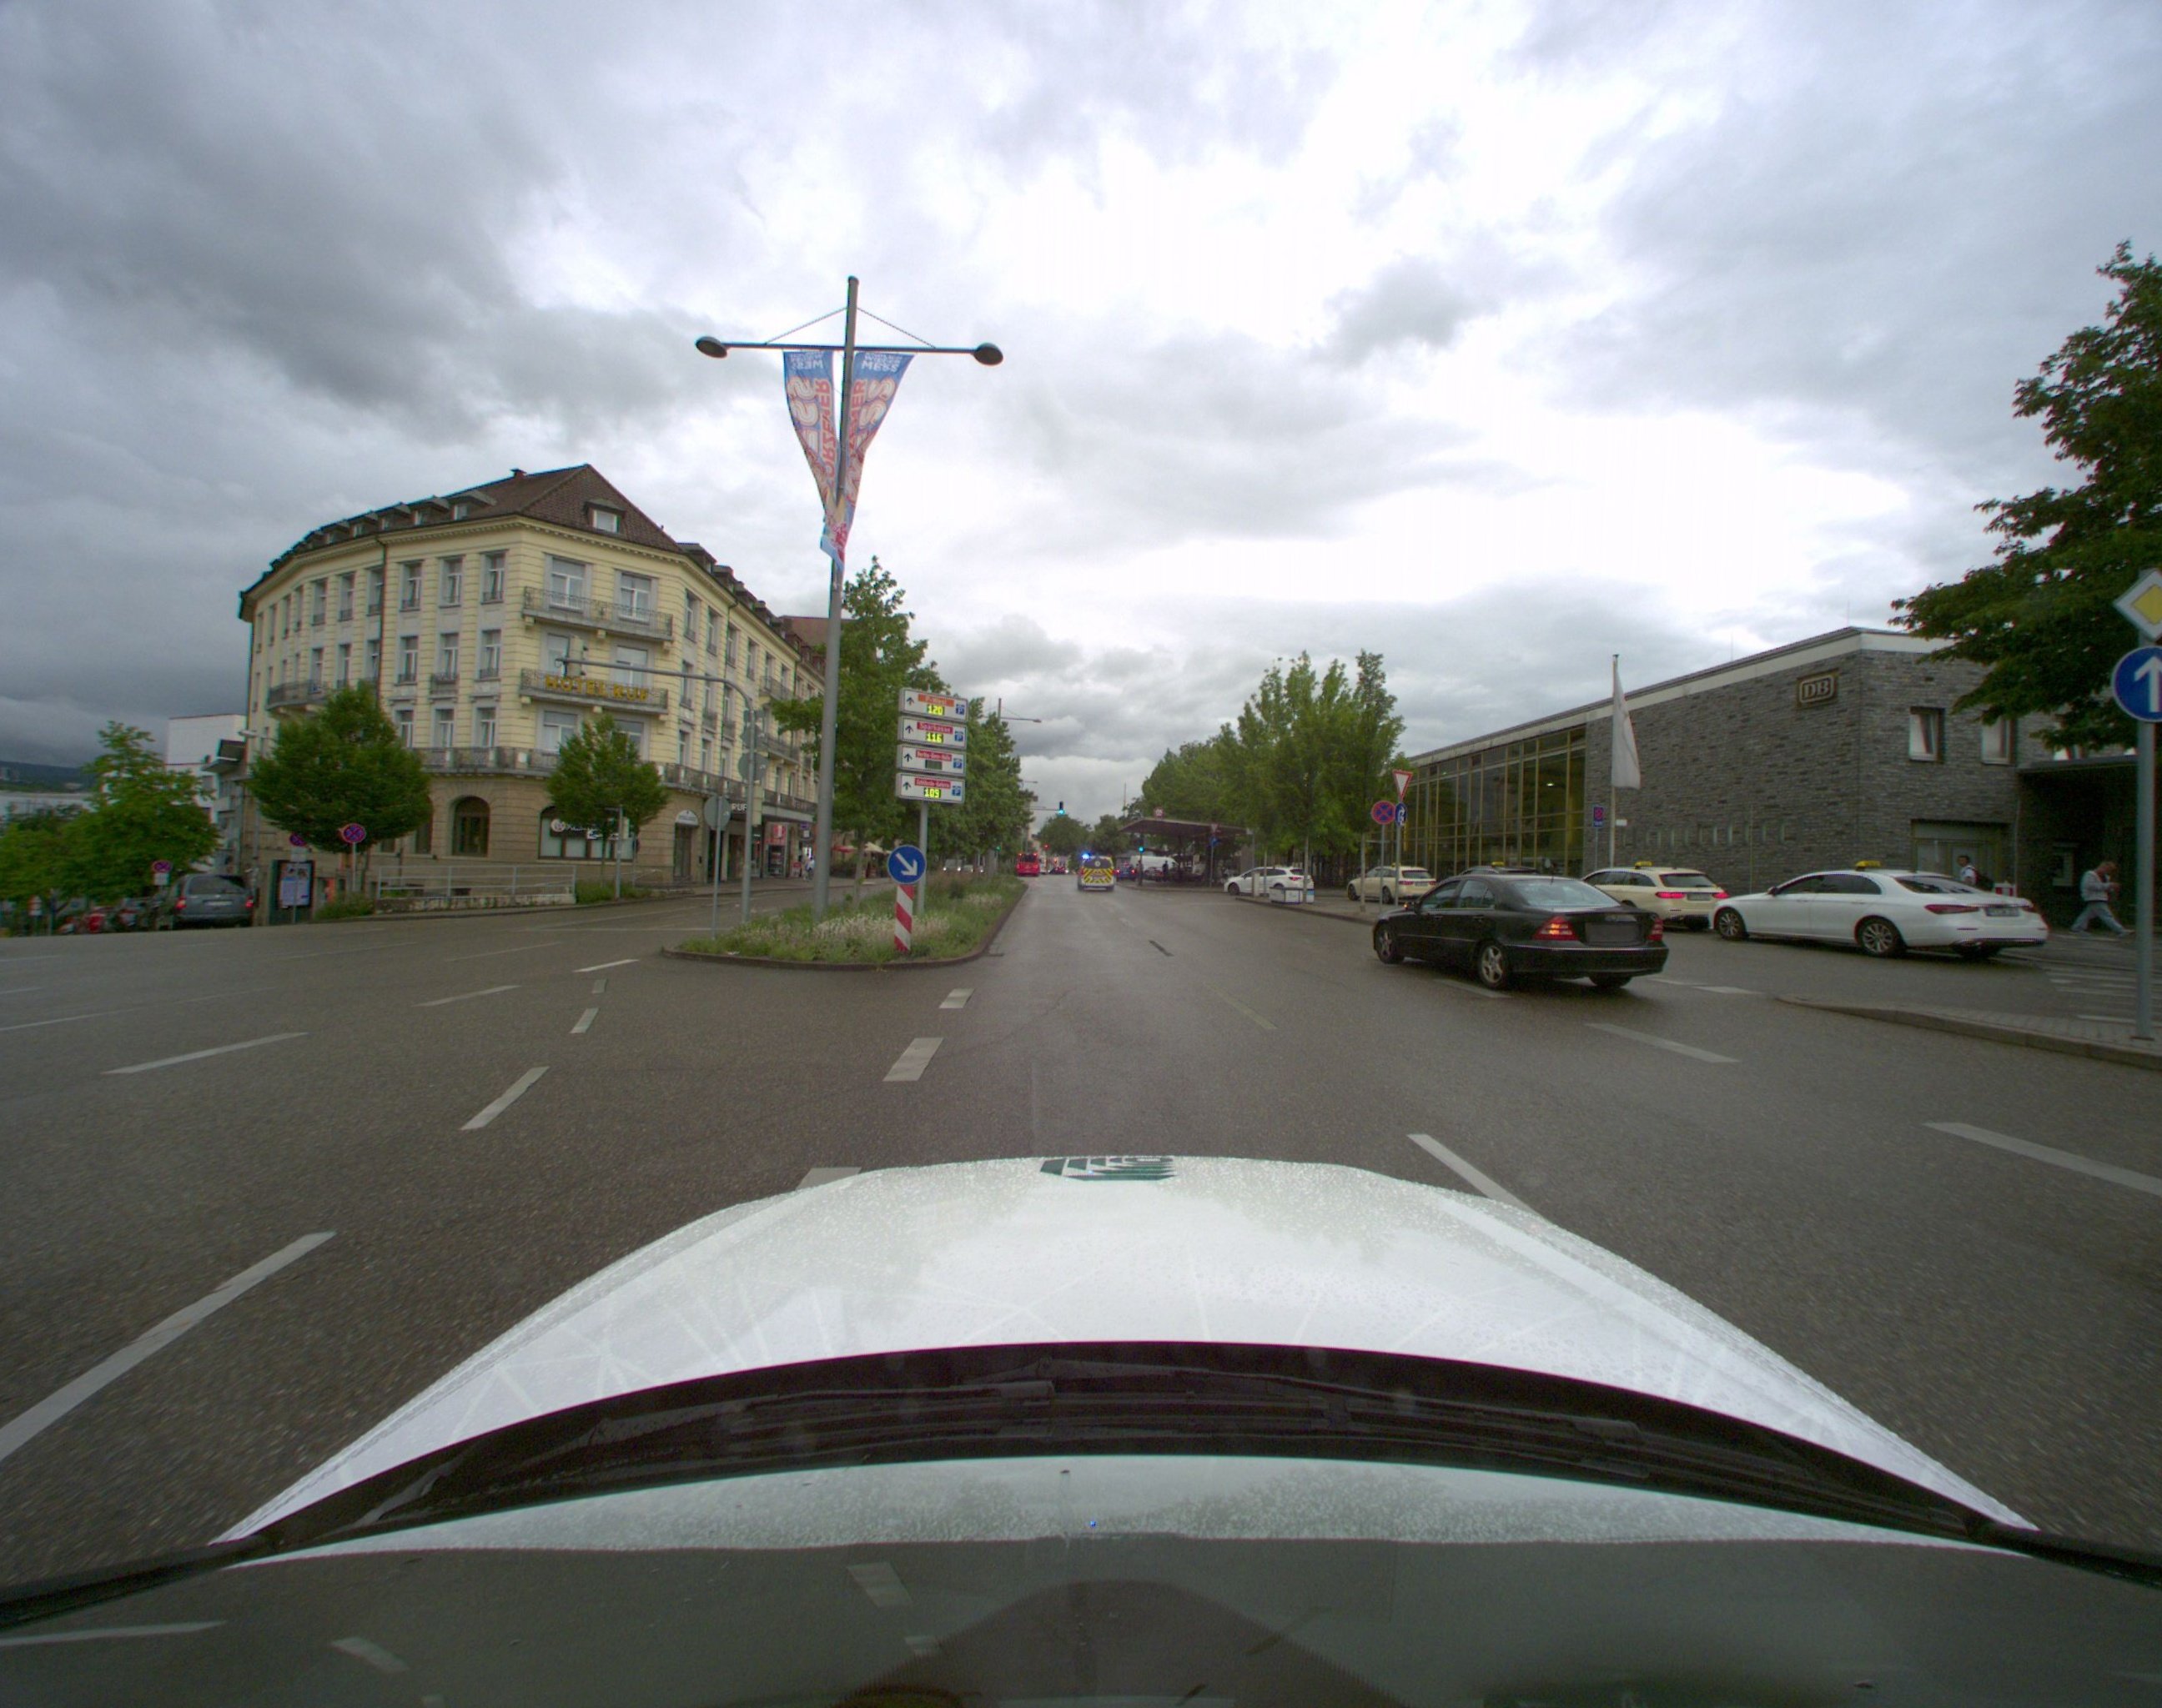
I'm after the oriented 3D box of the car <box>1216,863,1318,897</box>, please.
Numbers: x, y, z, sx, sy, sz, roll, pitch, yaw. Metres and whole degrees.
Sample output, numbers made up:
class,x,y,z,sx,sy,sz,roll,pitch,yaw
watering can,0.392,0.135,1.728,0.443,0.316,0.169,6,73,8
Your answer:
class,x,y,z,sx,sy,sz,roll,pitch,yaw
car,9.032,1.244,39.839,1.773,1.546,4.719,2,-2,-42

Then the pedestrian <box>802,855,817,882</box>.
class,x,y,z,sx,sy,sz,roll,pitch,yaw
pedestrian,-17.224,0.931,51.705,0.679,1.664,0.807,-1,-1,1

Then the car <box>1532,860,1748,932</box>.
class,x,y,z,sx,sy,sz,roll,pitch,yaw
car,13.911,0.964,20.741,1.988,1.599,4.954,-1,-1,-2

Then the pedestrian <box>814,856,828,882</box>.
class,x,y,z,sx,sy,sz,roll,pitch,yaw
pedestrian,-16.512,0.952,51.755,0.680,1.664,0.806,-1,-1,-2

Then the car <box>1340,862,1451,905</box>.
class,x,y,z,sx,sy,sz,roll,pitch,yaw
car,12.735,1.164,33.411,1.994,1.599,4.941,-1,-1,-10

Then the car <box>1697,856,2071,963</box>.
class,x,y,z,sx,sy,sz,roll,pitch,yaw
car,14.070,0.882,14.835,1.875,1.599,4.899,-1,-1,-2

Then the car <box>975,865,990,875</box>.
class,x,y,z,sx,sy,sz,roll,pitch,yaw
car,-14.175,2.272,117.346,1.742,1.430,3.950,-1,-1,-2

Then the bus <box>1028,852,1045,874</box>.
class,x,y,z,sx,sy,sz,roll,pitch,yaw
bus,-7.845,1.601,141.617,2.800,3.747,10.430,-1,-1,-4

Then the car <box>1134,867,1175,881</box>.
class,x,y,z,sx,sy,sz,roll,pitch,yaw
car,7.690,2.064,85.215,4.010,1.443,1.847,1,-2,-29

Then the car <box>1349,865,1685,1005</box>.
class,x,y,z,sx,sy,sz,roll,pitch,yaw
car,5.463,0.910,10.999,1.694,1.466,4.439,-1,-1,-8

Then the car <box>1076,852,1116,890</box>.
class,x,y,z,sx,sy,sz,roll,pitch,yaw
car,0.786,0.957,45.689,1.988,2.014,5.058,-1,-1,-1

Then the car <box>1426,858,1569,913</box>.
class,x,y,z,sx,sy,sz,roll,pitch,yaw
car,13.532,0.967,26.845,1.989,1.599,4.952,1,-1,-3

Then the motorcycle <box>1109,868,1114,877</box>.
class,x,y,z,sx,sy,sz,roll,pitch,yaw
motorcycle,4.100,2.448,107.984,0.592,1.288,1.955,0,-1,4

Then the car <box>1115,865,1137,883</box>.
class,x,y,z,sx,sy,sz,roll,pitch,yaw
car,4.027,1.791,73.750,1.851,1.569,4.001,0,-2,2

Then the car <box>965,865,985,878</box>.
class,x,y,z,sx,sy,sz,roll,pitch,yaw
car,-13.530,2.254,104.303,1.988,1.543,4.629,-1,-1,-2

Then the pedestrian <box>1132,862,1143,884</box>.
class,x,y,z,sx,sy,sz,roll,pitch,yaw
pedestrian,5.165,1.723,74.003,0.830,2.014,0.887,-1,-1,-7

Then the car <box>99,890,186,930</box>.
class,x,y,z,sx,sy,sz,roll,pitch,yaw
car,-38.402,2.255,33.296,3.948,1.478,1.781,-1,-1,33

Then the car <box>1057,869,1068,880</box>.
class,x,y,z,sx,sy,sz,roll,pitch,yaw
car,-3.675,4.049,161.085,1.988,2.014,3.997,-1,-1,-2

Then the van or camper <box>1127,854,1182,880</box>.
class,x,y,z,sx,sy,sz,roll,pitch,yaw
van or camper,8.261,1.451,91.310,5.983,2.763,2.178,0,-1,-30

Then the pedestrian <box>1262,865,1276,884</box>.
class,x,y,z,sx,sy,sz,roll,pitch,yaw
pedestrian,15.186,1.648,65.785,0.865,1.559,0.811,0,-1,-9

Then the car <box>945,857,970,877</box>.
class,x,y,z,sx,sy,sz,roll,pitch,yaw
car,-13.199,1.409,87.251,1.987,2.014,4.999,-1,-1,-1

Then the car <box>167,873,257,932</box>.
class,x,y,z,sx,sy,sz,roll,pitch,yaw
car,-28.710,1.531,26.871,3.948,1.759,1.645,0,-1,38

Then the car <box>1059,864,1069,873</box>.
class,x,y,z,sx,sy,sz,roll,pitch,yaw
car,-3.657,3.146,176.536,1.988,2.014,3.997,-1,-1,-2

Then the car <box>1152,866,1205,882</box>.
class,x,y,z,sx,sy,sz,roll,pitch,yaw
car,8.484,1.780,70.842,4.202,1.325,1.826,1,-2,-22

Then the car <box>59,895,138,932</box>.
class,x,y,z,sx,sy,sz,roll,pitch,yaw
car,-43.758,2.624,36.269,3.958,1.478,1.781,-1,-1,33

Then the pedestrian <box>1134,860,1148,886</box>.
class,x,y,z,sx,sy,sz,roll,pitch,yaw
pedestrian,4.044,1.269,55.178,0.746,1.747,0.833,0,-2,-10

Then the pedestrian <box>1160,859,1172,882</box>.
class,x,y,z,sx,sy,sz,roll,pitch,yaw
pedestrian,6.869,1.324,65.755,0.854,1.835,1.189,0,-2,-3

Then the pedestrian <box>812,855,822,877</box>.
class,x,y,z,sx,sy,sz,roll,pitch,yaw
pedestrian,-20.114,0.949,62.098,0.667,1.664,0.534,0,-1,-11

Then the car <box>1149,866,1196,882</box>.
class,x,y,z,sx,sy,sz,roll,pitch,yaw
car,8.380,1.850,74.503,4.014,1.359,1.845,2,-2,-33

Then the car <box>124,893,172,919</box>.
class,x,y,z,sx,sy,sz,roll,pitch,yaw
car,-58.160,3.183,50.760,3.948,1.478,1.781,-2,-2,39

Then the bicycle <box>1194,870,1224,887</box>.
class,x,y,z,sx,sy,sz,roll,pitch,yaw
bicycle,8.099,1.561,51.541,1.823,1.056,0.420,-1,-1,-3

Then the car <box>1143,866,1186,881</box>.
class,x,y,z,sx,sy,sz,roll,pitch,yaw
car,8.498,2.014,83.055,4.010,1.443,1.847,1,-2,-29

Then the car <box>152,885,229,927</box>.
class,x,y,z,sx,sy,sz,roll,pitch,yaw
car,-33.716,1.908,30.819,3.948,1.398,1.645,0,-1,38

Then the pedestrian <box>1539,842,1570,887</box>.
class,x,y,z,sx,sy,sz,roll,pitch,yaw
pedestrian,17.194,0.385,29.558,0.787,1.626,0.727,-2,-2,43

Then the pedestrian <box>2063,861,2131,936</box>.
class,x,y,z,sx,sy,sz,roll,pitch,yaw
pedestrian,22.095,0.949,17.725,0.701,1.580,0.776,-2,-2,35

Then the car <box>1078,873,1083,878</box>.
class,x,y,z,sx,sy,sz,roll,pitch,yaw
car,-0.201,6.389,245.262,1.591,1.561,3.647,-1,-1,-2

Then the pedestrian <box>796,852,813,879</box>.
class,x,y,z,sx,sy,sz,roll,pitch,yaw
pedestrian,-18.142,0.756,53.478,0.877,1.813,0.750,-1,-1,-3

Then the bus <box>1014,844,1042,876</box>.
class,x,y,z,sx,sy,sz,roll,pitch,yaw
bus,-7.202,0.888,109.924,3.538,3.980,11.153,-1,-1,-4

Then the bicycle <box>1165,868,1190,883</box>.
class,x,y,z,sx,sy,sz,roll,pitch,yaw
bicycle,7.157,1.596,60.397,1.834,1.056,0.417,0,-1,-21

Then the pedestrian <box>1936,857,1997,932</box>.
class,x,y,z,sx,sy,sz,roll,pitch,yaw
pedestrian,20.296,0.911,18.671,0.647,1.667,0.771,0,-1,-24

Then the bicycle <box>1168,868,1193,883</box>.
class,x,y,z,sx,sy,sz,roll,pitch,yaw
bicycle,7.293,1.581,59.959,1.834,1.056,0.417,0,-1,-21
